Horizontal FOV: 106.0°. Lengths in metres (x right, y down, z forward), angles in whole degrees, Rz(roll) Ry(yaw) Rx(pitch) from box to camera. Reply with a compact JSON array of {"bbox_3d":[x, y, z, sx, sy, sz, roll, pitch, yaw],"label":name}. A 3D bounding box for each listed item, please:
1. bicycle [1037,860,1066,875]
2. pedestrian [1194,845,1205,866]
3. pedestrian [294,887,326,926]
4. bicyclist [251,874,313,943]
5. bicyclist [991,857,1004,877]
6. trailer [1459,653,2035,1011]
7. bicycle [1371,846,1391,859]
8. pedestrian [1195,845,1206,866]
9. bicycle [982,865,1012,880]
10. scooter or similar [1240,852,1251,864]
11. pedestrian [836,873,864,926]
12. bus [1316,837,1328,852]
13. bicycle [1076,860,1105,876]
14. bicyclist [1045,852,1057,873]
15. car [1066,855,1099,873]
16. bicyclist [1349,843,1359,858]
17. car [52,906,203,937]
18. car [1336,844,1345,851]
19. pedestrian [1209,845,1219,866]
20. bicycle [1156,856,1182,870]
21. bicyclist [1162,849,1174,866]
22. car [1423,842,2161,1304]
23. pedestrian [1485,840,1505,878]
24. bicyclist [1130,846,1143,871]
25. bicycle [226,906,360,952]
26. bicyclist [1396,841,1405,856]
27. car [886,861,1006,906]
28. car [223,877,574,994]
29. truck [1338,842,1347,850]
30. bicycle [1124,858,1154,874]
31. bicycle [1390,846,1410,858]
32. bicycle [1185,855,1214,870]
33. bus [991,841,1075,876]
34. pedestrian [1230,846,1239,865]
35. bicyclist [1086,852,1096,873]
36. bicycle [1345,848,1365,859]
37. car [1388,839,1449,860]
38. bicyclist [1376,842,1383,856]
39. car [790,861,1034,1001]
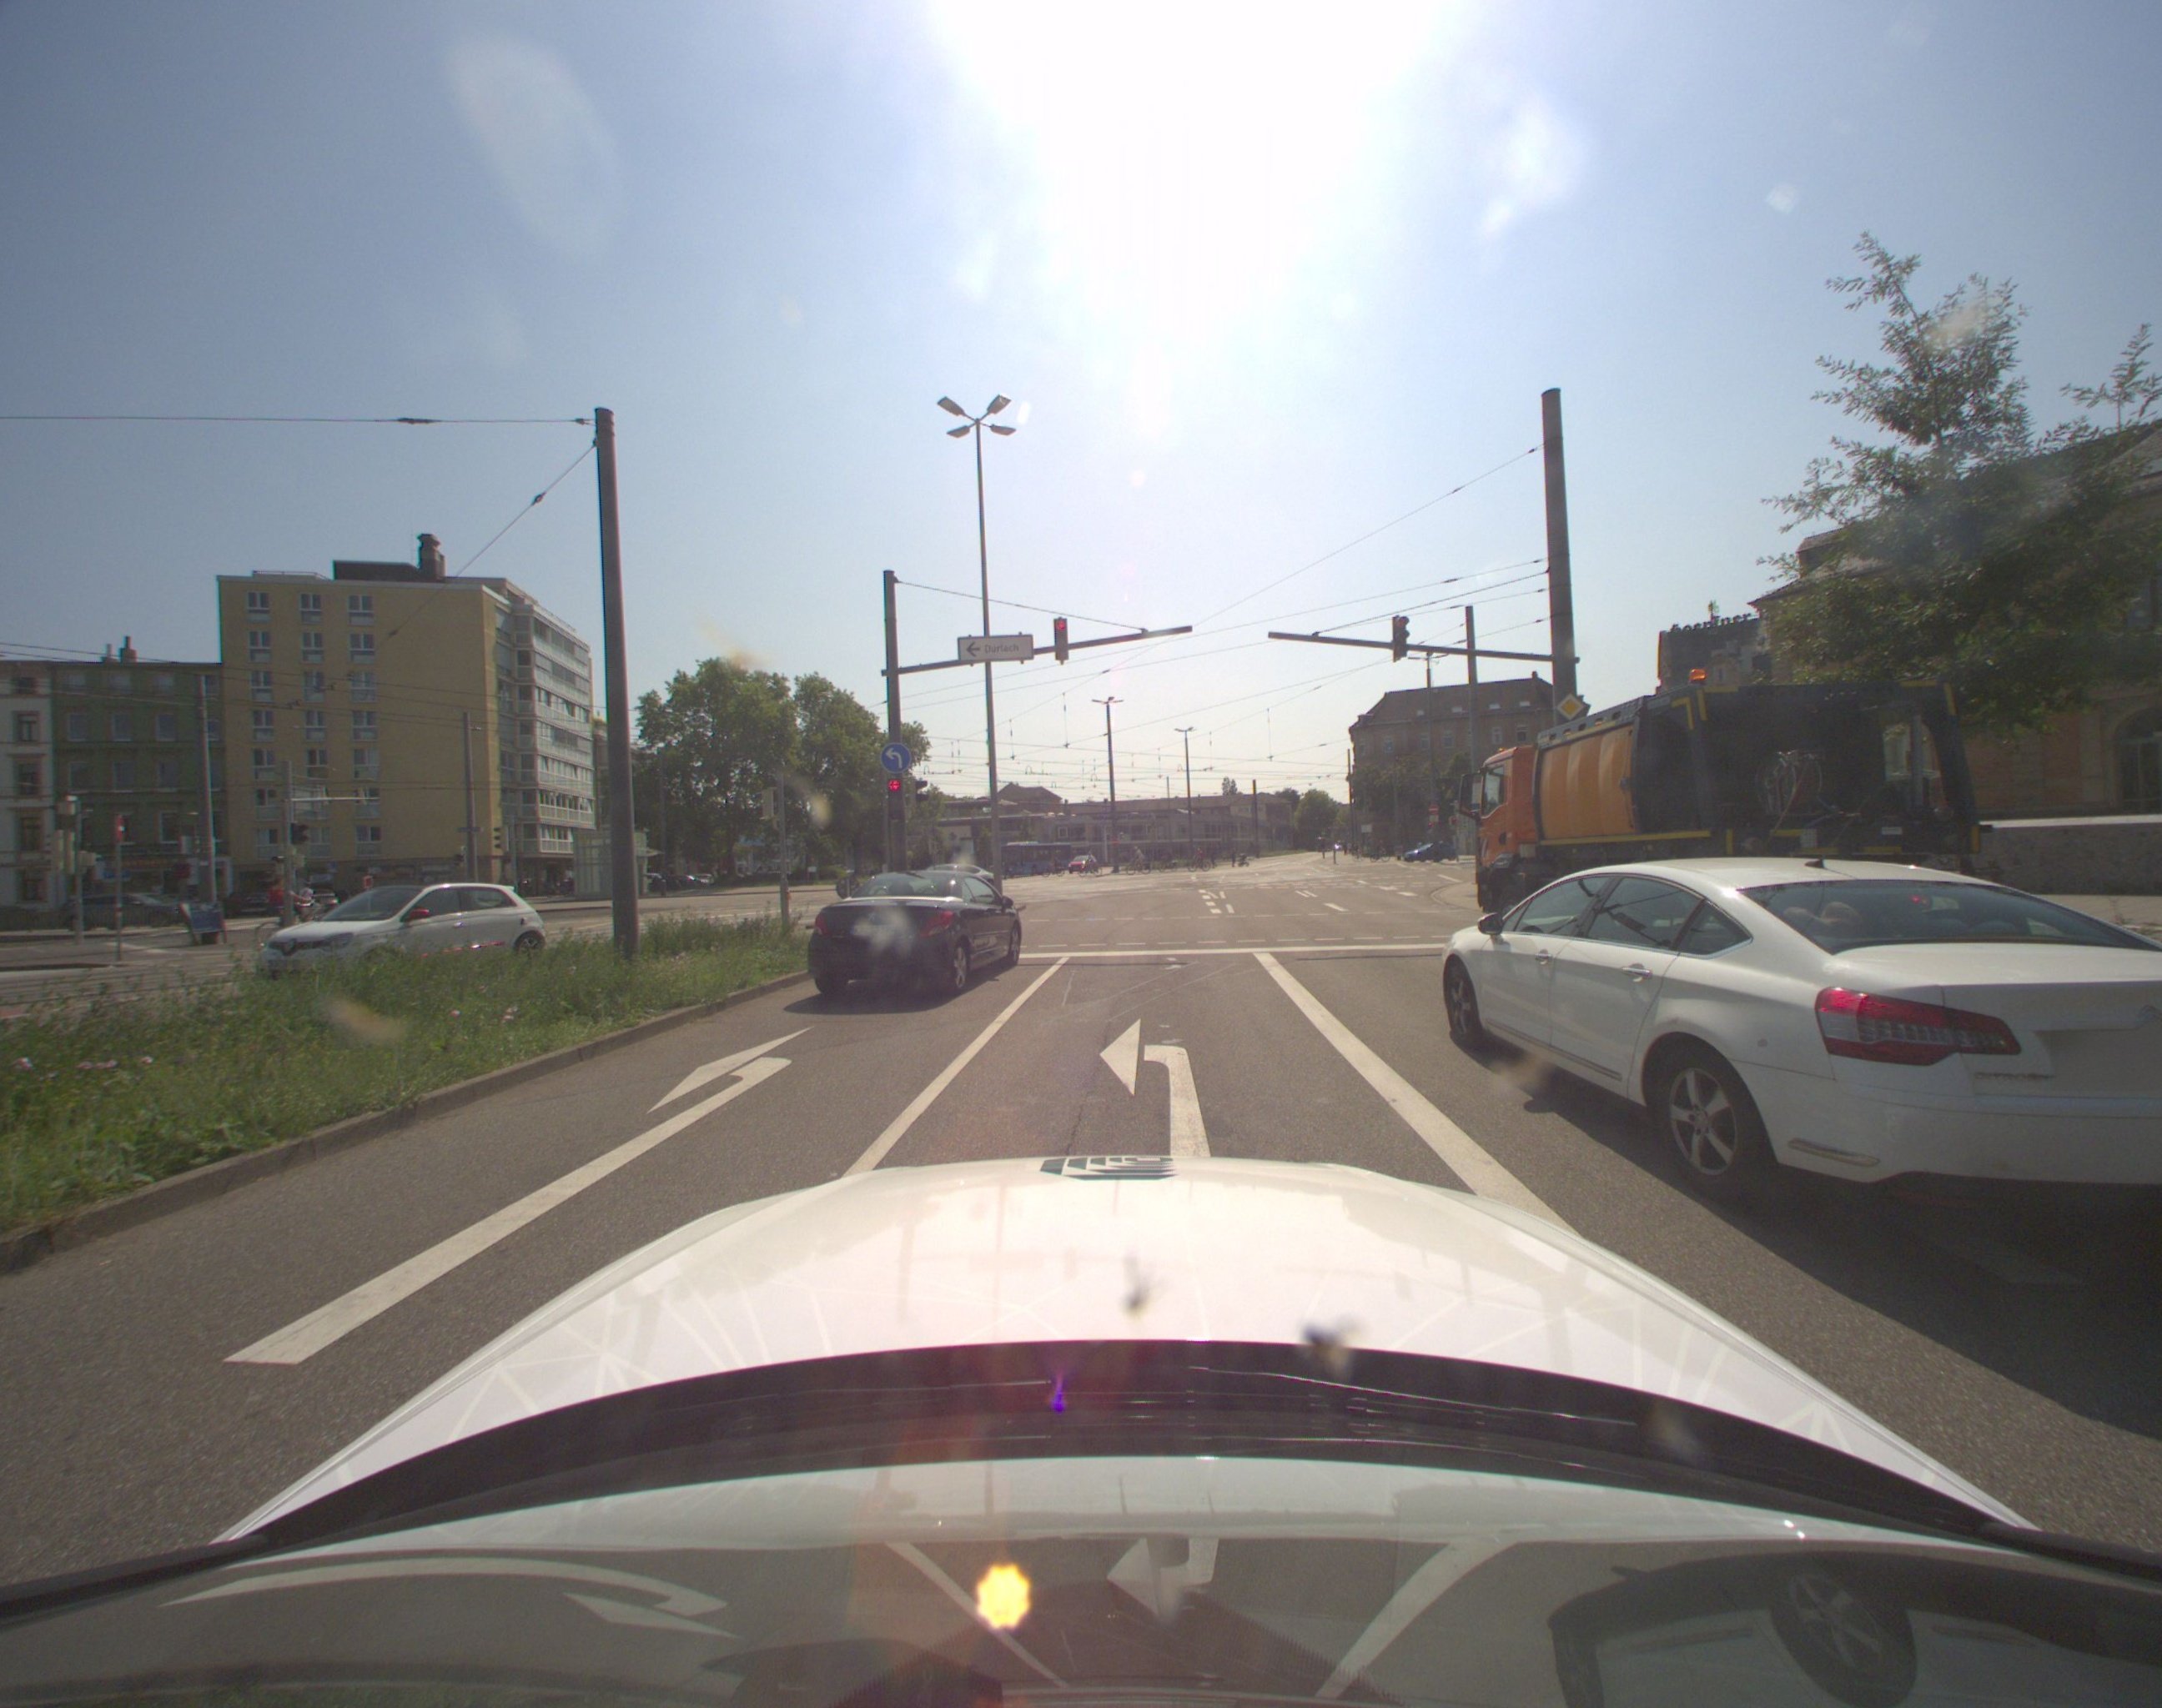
[{"bbox_3d":[-2.374,1.084,65.008,2.198,1.087,0.760,-2,0,-11],"label":"bicycle"},{"bbox_3d":[10.193,0.106,70.017,0.777,1.752,0.813,-3,0,20],"label":"pedestrian"},{"bbox_3d":[-33.638,2.273,35.530,0.649,1.633,0.811,-3,-1,-12],"label":"pedestrian"},{"bbox_3d":[-20.050,1.359,20.451,0.840,1.642,0.604,-3,1,-13],"label":"bicyclist"},{"bbox_3d":[-6.595,1.046,64.262,0.799,1.541,0.759,-2,0,-14],"label":"bicyclist"},{"bbox_3d":[7.104,-0.172,10.101,2.450,3.007,6.336,-1,0,6],"label":"trailer"},{"bbox_3d":[25.350,-0.118,68.868,1.577,0.985,0.510,-3,-1,21],"label":"bicycle"},{"bbox_3d":[8.852,0.107,60.364,0.661,1.535,0.714,-2,0,-4],"label":"pedestrian"},{"bbox_3d":[-6.644,1.471,64.250,2.200,1.087,0.759,-2,0,-14],"label":"bicycle"},{"bbox_3d":[14.245,0.320,70.634,0.832,0.974,0.793,-2,0,3],"label":"scooter or similar"},{"bbox_3d":[-5.867,1.139,20.679,0.596,1.268,0.503,-3,2,-14],"label":"pedestrian"},{"bbox_3d":[57.683,-2.299,194.803,2.542,3.506,7.836,-3,0,17],"label":"bus"},{"bbox_3d":[0.698,1.007,58.331,1.970,1.018,0.715,-3,0,2],"label":"bicycle"},{"bbox_3d":[-2.417,0.707,65.002,0.762,1.634,0.760,-2,0,-11],"label":"bicyclist"},{"bbox_3d":[0.169,0.897,72.657,1.714,1.420,3.859,-3,0,19],"label":"car"},{"bbox_3d":[24.369,-0.326,72.631,0.595,1.247,0.504,-2,-1,-16],"label":"bicyclist"},{"bbox_3d":[-41.401,2.919,35.468,3.893,0.987,1.706,-3,-1,-18],"label":"car"},{"bbox_3d":[62.454,-1.519,195.913,1.978,1.483,4.017,-3,0,16],"label":"car"},{"bbox_3d":[11.275,0.103,69.032,0.616,1.752,0.631,-3,0,21],"label":"pedestrian"},{"bbox_3d":[6.967,0.697,64.477,1.985,1.018,0.710,-2,0,-21],"label":"bicycle"},{"bbox_3d":[6.897,0.271,64.460,0.670,1.350,0.707,-2,0,-20],"label":"bicyclist"},{"bbox_3d":[3.639,0.700,4.803,1.749,1.455,4.433,-2,0,6],"label":"car"},{"bbox_3d":[16.393,0.200,32.263,0.440,1.477,0.532,-3,2,-18],"label":"pedestrian"},{"bbox_3d":[3.999,0.290,58.683,0.703,1.764,0.713,-2,0,-6],"label":"bicyclist"},{"bbox_3d":[-19.796,1.883,20.508,2.412,0.953,0.601,-3,-1,-13],"label":"bicycle"},{"bbox_3d":[27.678,-0.489,70.509,0.588,1.247,0.510,-3,-1,25],"label":"bicyclist"},{"bbox_3d":[-4.904,1.047,30.215,1.921,1.400,4.615,-3,0,28],"label":"car"},{"bbox_3d":[-10.648,1.188,13.173,1.758,1.425,4.080,-3,0,12],"label":"car"},{"bbox_3d":[67.678,-2.013,210.470,2.097,2.013,5.127,-3,0,19],"label":"truck"},{"bbox_3d":[4.173,0.877,58.699,1.976,1.018,0.713,-2,0,-7],"label":"bicycle"},{"bbox_3d":[27.647,-0.159,70.525,1.576,0.985,0.510,-3,-1,25],"label":"bicycle"},{"bbox_3d":[8.764,0.638,60.351,1.974,1.018,0.713,-2,0,-4],"label":"bicycle"},{"bbox_3d":[-4.209,0.316,76.176,3.027,2.931,11.915,-3,0,21],"label":"bus"},{"bbox_3d":[13.302,0.131,70.625,0.632,1.561,0.748,-2,0,3],"label":"pedestrian"},{"bbox_3d":[0.713,0.613,58.327,0.661,1.509,0.715,-2,0,2],"label":"bicyclist"},{"bbox_3d":[24.434,-0.039,72.644,1.594,0.985,0.504,-2,0,-16],"label":"bicycle"},{"bbox_3d":[25.673,-0.312,61.996,3.890,1.420,1.730,-2,0,-6],"label":"car"},{"bbox_3d":[25.276,-0.420,68.896,0.499,1.188,0.510,-3,-1,21],"label":"bicyclist"},{"bbox_3d":[-1.918,0.837,10.575,1.747,1.404,3.991,-2,0,9],"label":"car"}]
